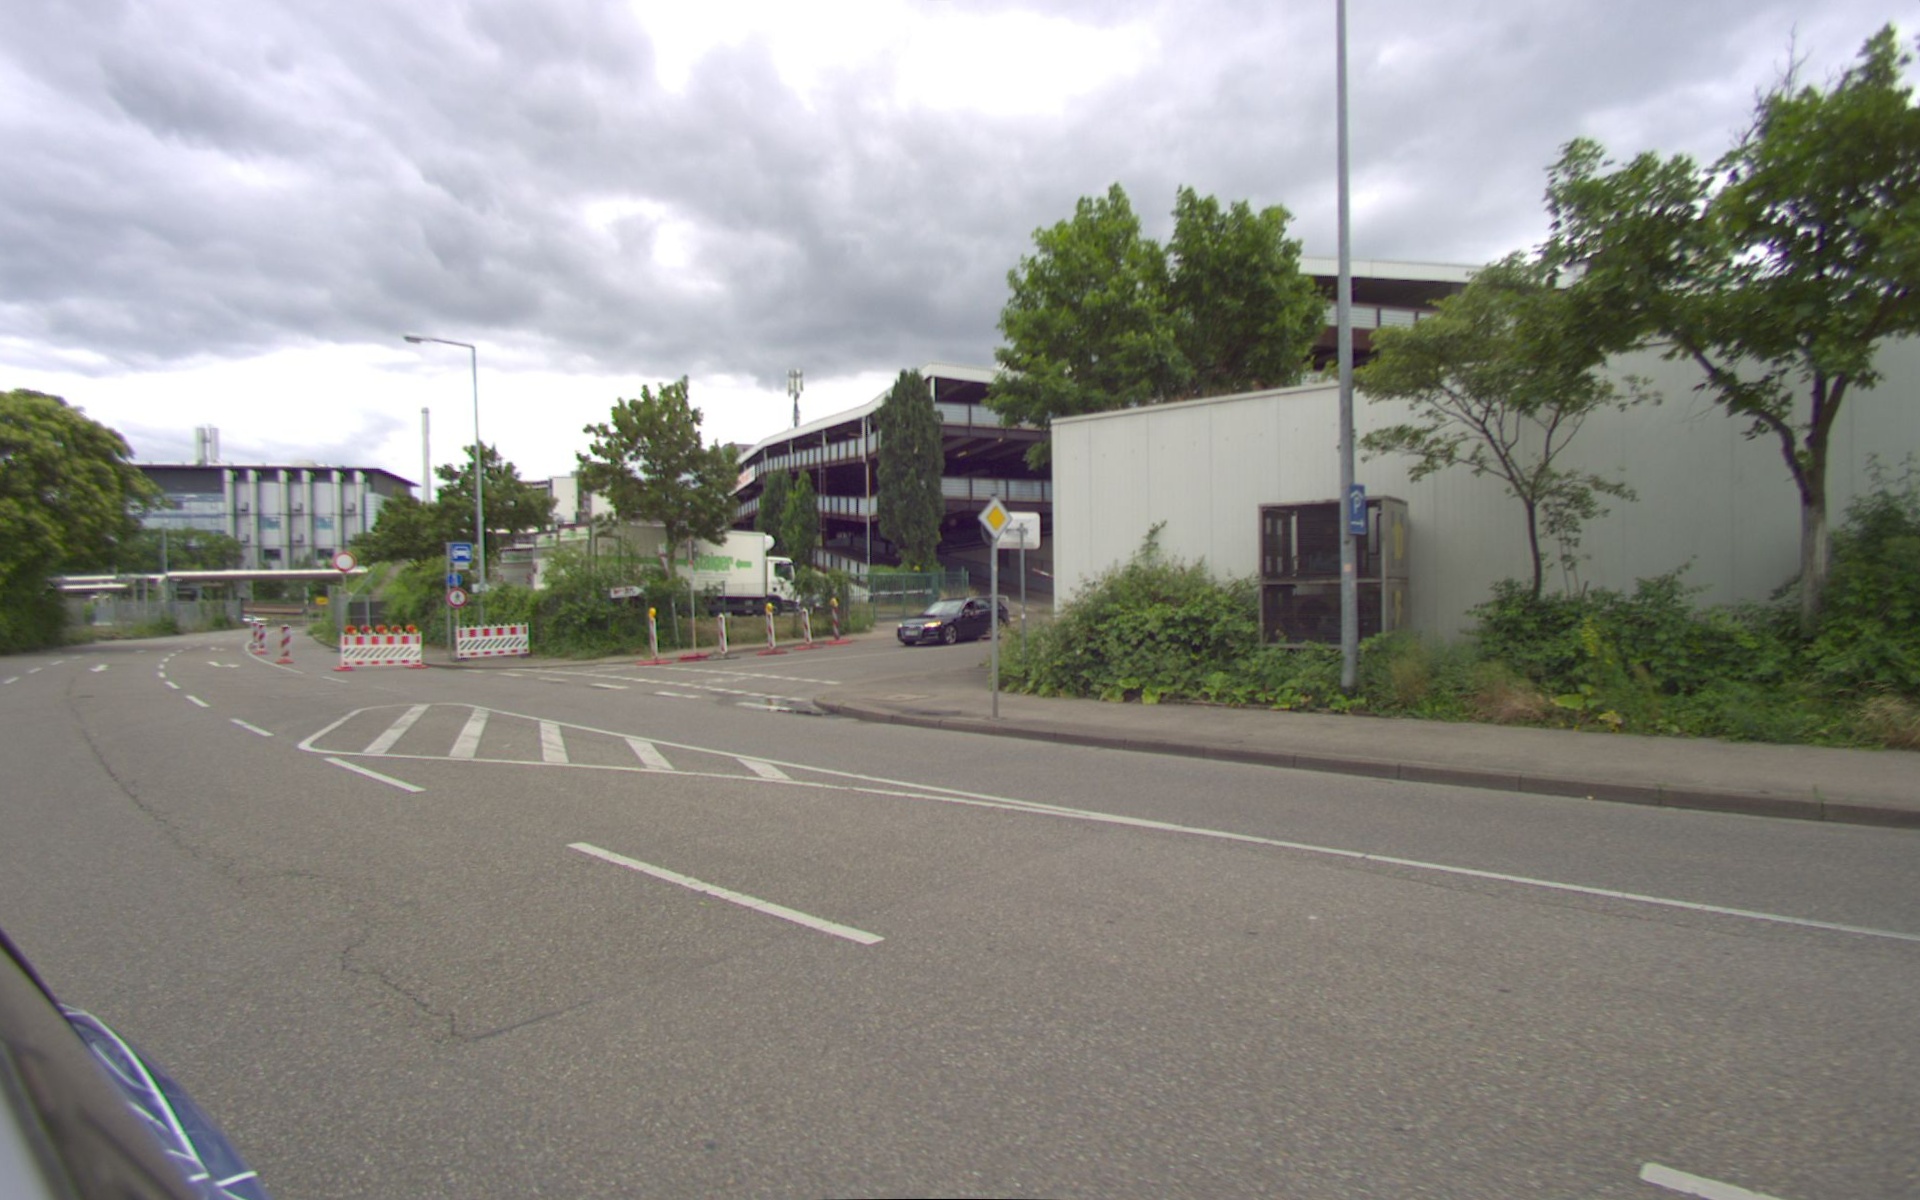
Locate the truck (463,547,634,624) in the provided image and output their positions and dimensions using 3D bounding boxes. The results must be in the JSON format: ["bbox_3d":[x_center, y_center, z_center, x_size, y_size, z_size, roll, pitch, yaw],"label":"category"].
[{"bbox_3d":[-20.339,-0.744,50.621,3.039,3.564,7.791,0,1,28],"label":"truck"}]

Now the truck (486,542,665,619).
[{"bbox_3d":[-17.792,-0.918,47.464,3.039,3.274,7.791,0,1,28],"label":"truck"}]

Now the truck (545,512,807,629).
[{"bbox_3d":[-10.737,-1.096,39.339,3.054,4.021,9.512,0,1,44],"label":"truck"}]

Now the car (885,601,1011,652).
[{"bbox_3d":[-0.297,0.804,32.417,1.798,1.419,4.335,-1,1,36],"label":"car"}]

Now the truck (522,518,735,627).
[{"bbox_3d":[-13.347,-1.099,41.338,3.052,4.021,7.756,0,1,43],"label":"truck"}]
